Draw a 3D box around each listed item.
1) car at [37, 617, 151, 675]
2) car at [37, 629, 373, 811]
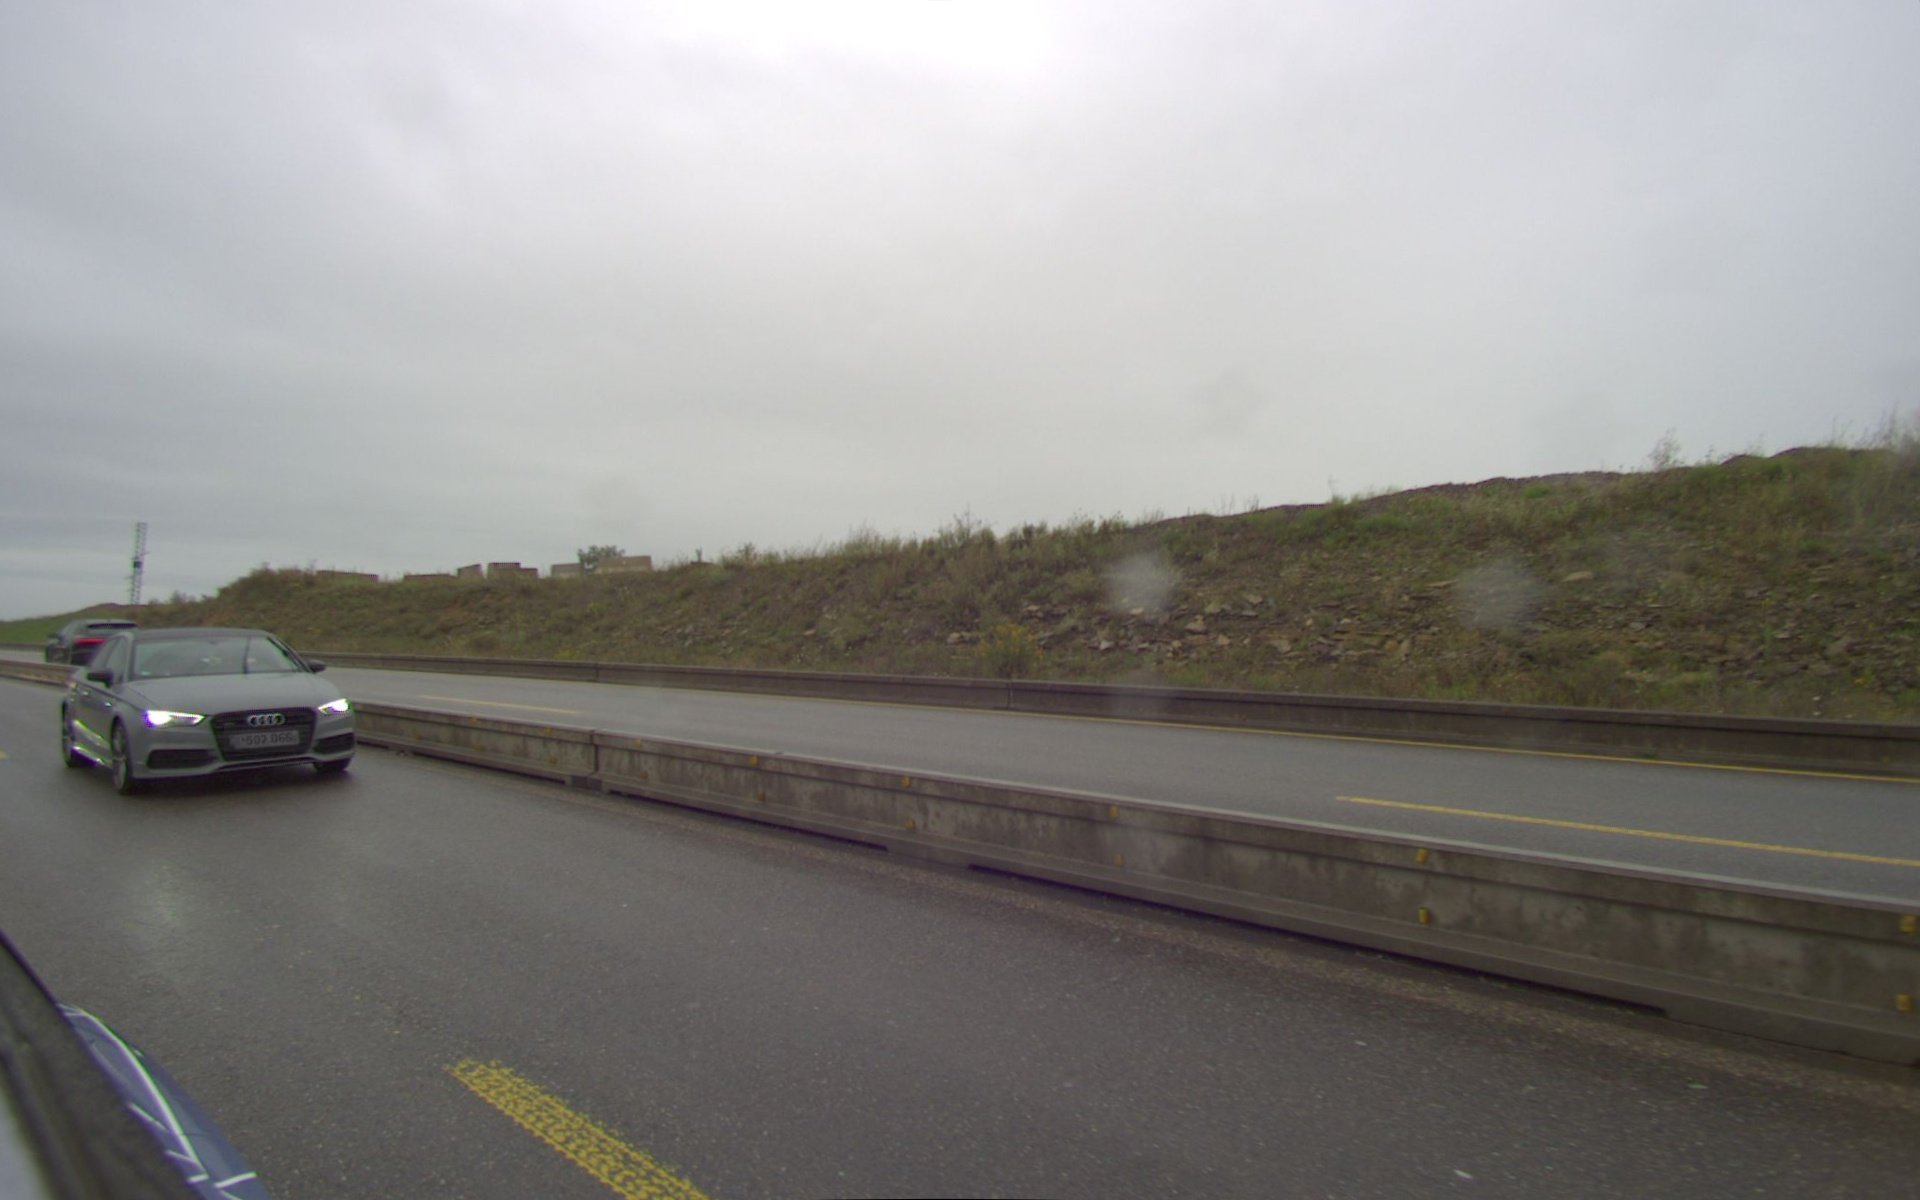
[{"bbox_3d":[-26.125,1.358,30.475,4.897,1.605,1.793,-1,-2,40],"label":"car"},{"bbox_3d":[-7.593,1.008,10.041,4.084,1.393,1.782,-1,-1,40],"label":"car"}]
